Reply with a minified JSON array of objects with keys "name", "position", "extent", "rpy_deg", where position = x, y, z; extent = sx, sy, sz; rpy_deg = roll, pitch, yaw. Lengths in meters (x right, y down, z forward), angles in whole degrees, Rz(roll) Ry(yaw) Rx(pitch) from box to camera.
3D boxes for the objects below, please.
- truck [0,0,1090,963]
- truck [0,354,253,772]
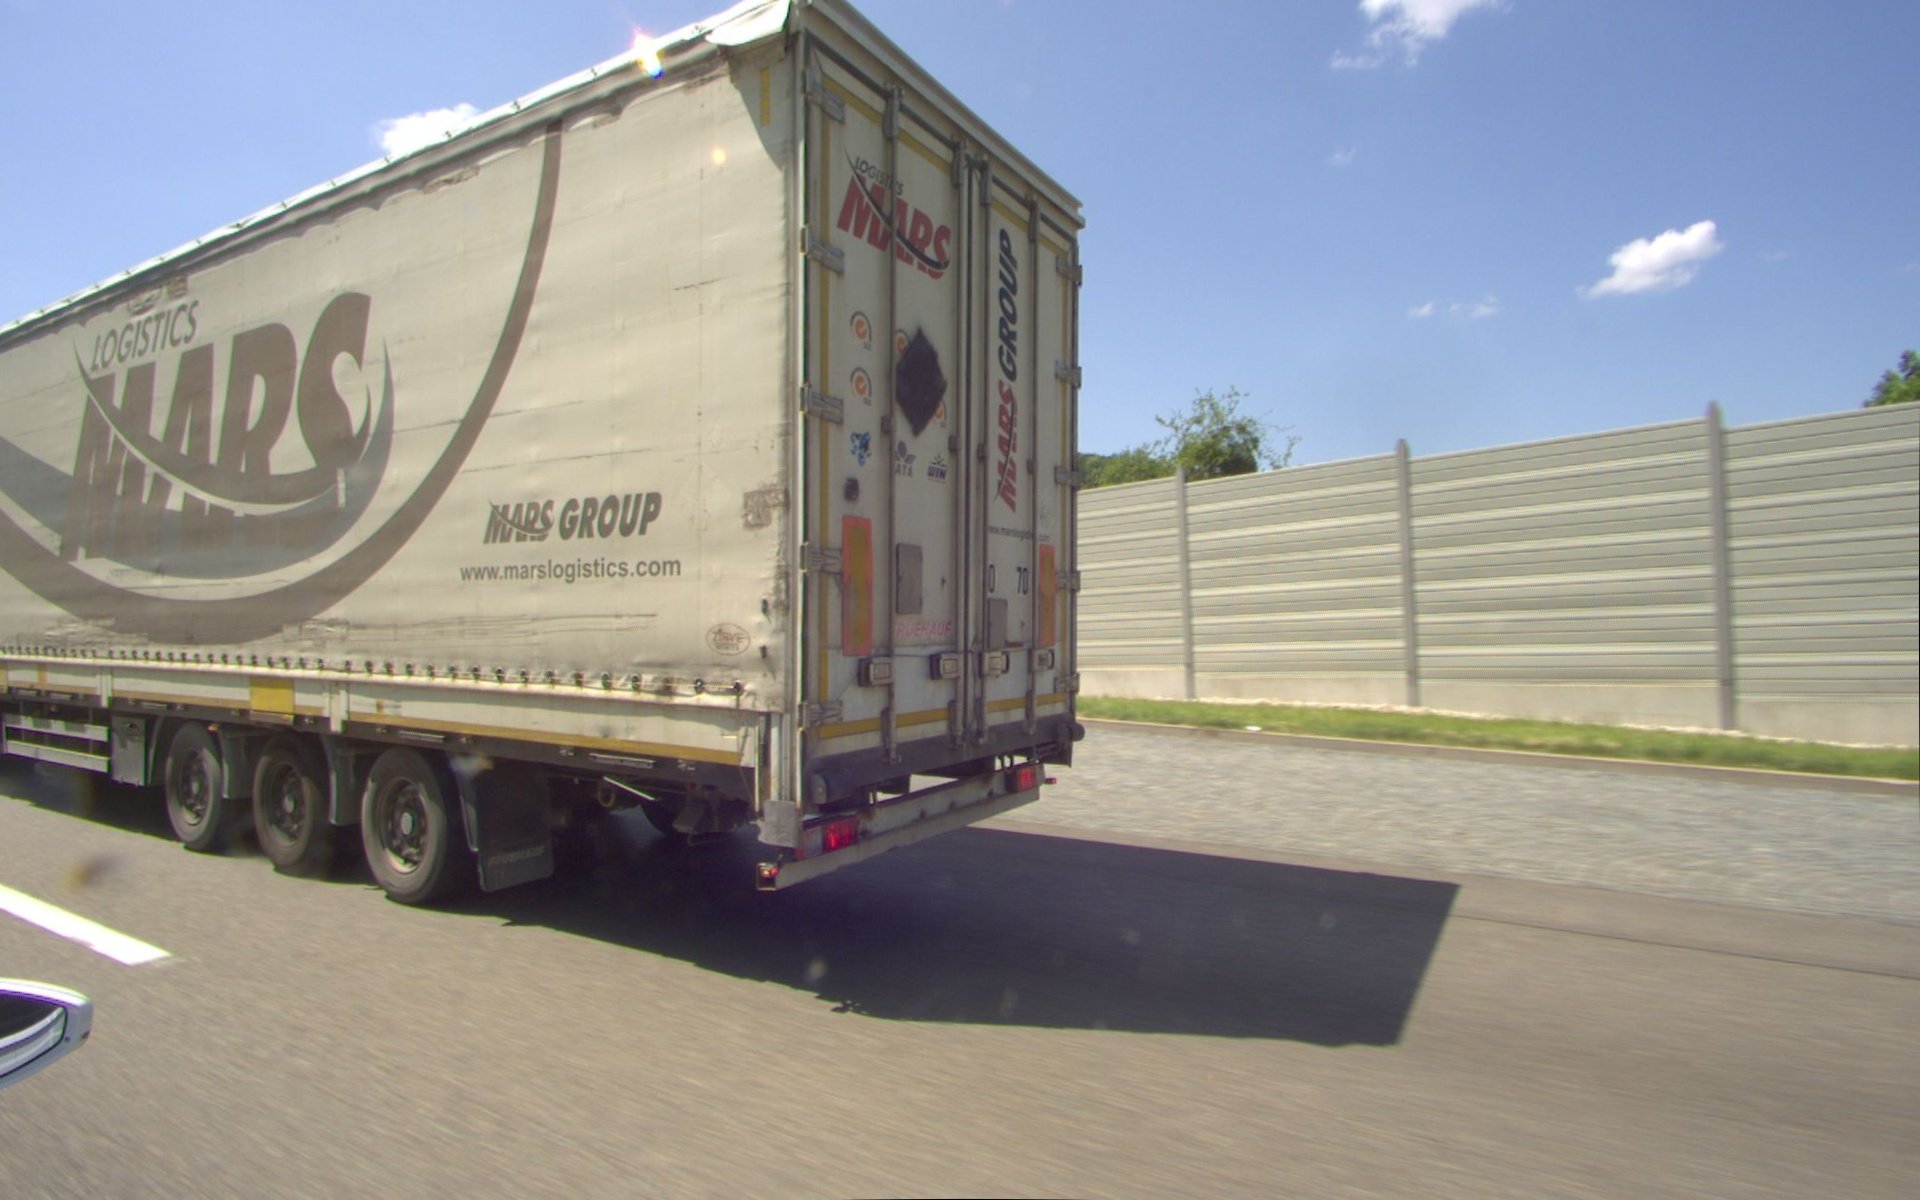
[{"name":"truck","position":[-5.668,-0.449,8.501],"extent":[13.544,4.118,2.723],"rpy_deg":[-2,-3,32]},{"name":"truck","position":[-11.458,-0.244,12.075],"extent":[5.672,4.118,2.716],"rpy_deg":[-2,-3,32]}]
